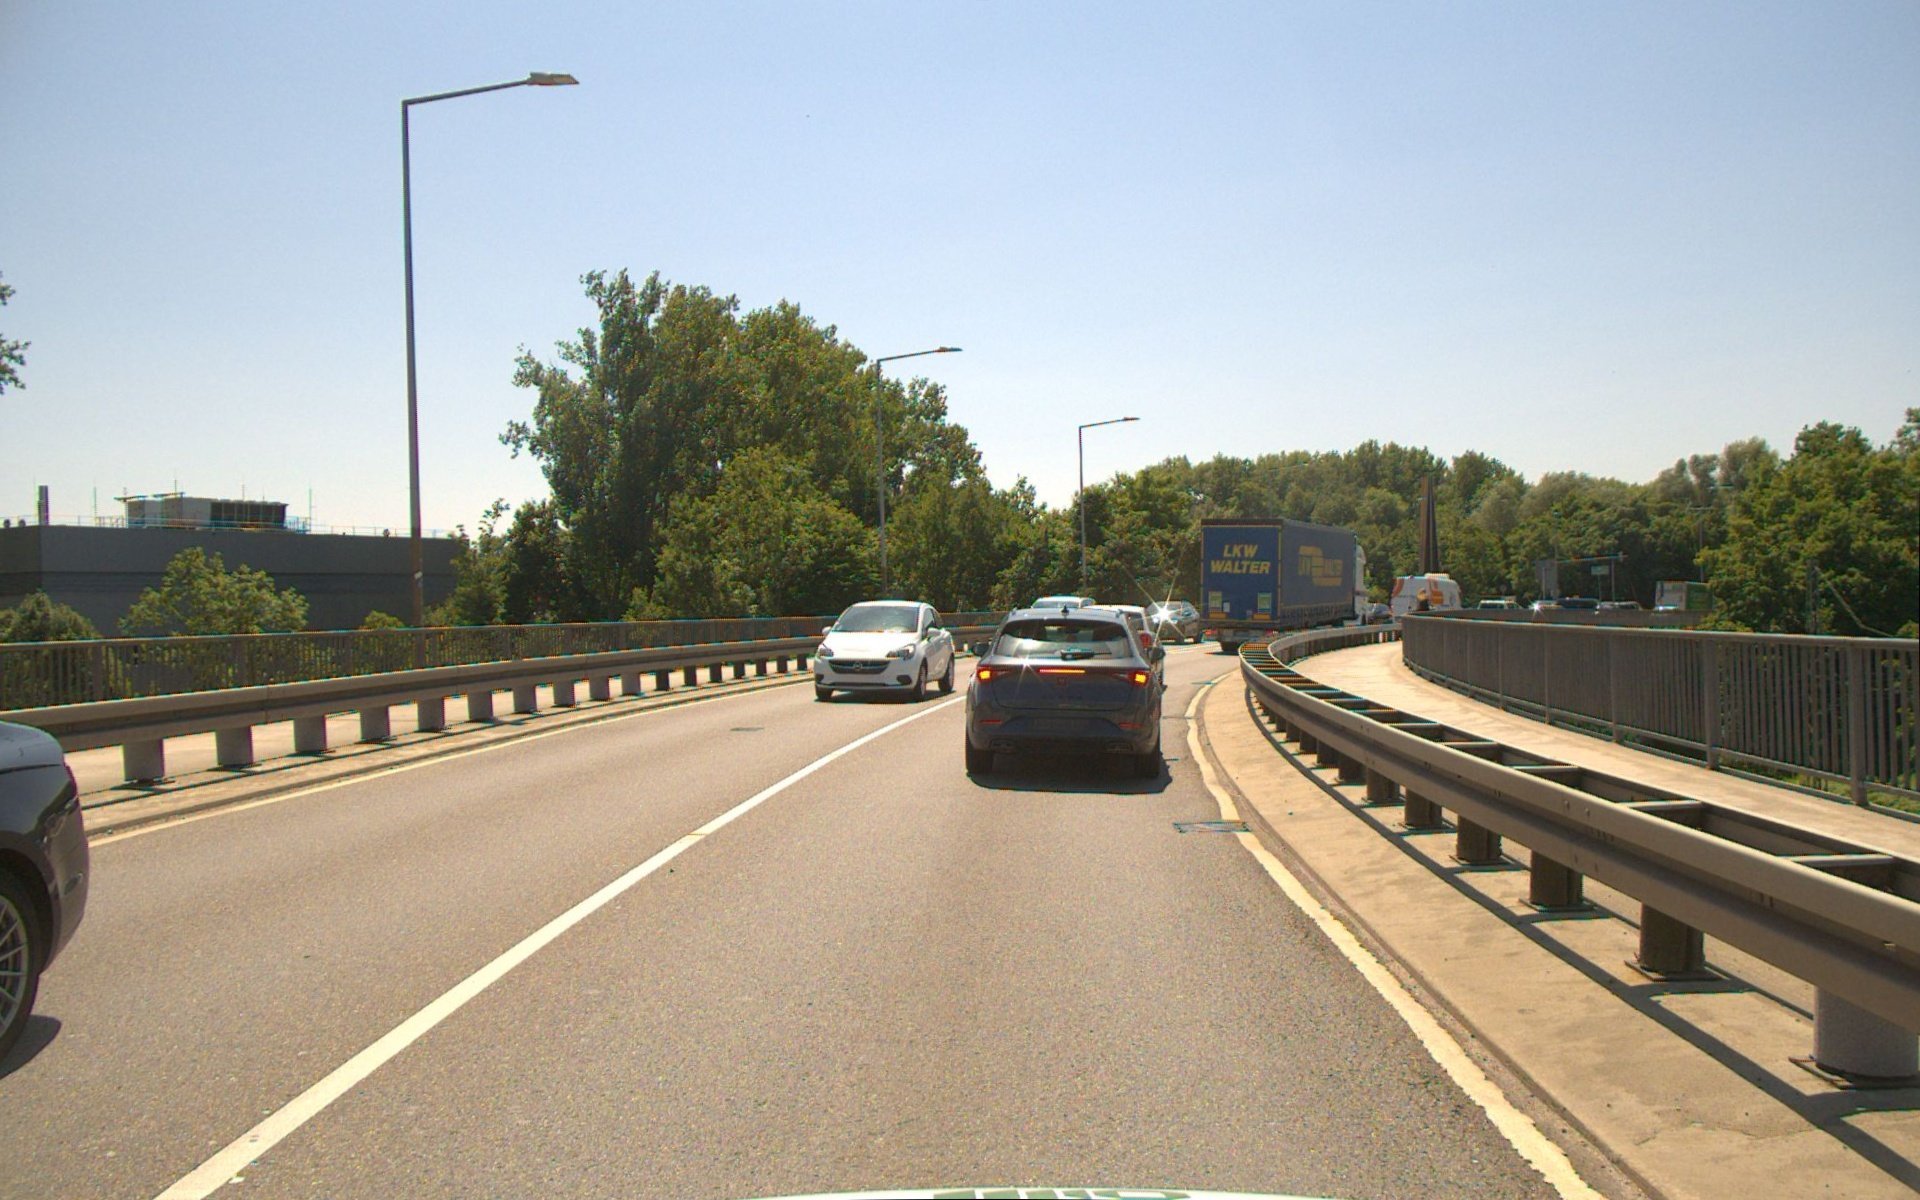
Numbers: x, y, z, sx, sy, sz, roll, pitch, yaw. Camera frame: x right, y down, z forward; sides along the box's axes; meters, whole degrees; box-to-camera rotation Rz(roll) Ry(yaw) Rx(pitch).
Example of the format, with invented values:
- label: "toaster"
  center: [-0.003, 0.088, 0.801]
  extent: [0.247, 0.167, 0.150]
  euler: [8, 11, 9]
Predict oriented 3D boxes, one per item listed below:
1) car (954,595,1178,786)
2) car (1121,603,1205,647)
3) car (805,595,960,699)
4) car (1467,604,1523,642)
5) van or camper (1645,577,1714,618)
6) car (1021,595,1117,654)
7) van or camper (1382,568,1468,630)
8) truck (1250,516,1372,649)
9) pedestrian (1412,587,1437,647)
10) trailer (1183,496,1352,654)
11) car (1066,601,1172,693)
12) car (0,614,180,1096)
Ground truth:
- label: "car"
  center: [0.908, 0.730, 15.355]
  extent: [1.807, 1.525, 3.759]
  euler: [1, 0, 1]
- label: "car"
  center: [7.363, 0.896, 59.716]
  extent: [1.849, 1.523, 4.313]
  euler: [0, -1, 24]
- label: "car"
  center: [-1.144, 0.708, 26.118]
  extent: [1.688, 1.509, 3.869]
  euler: [-1, -1, 9]
- label: "car"
  center: [27.551, 1.206, 85.104]
  extent: [1.854, 1.882, 3.990]
  euler: [1, -1, 31]
- label: "van or camper"
  center: [50.642, -0.160, 116.342]
  extent: [4.915, 2.331, 2.457]
  euler: [6, 1, -41]
- label: "car"
  center: [3.237, 0.689, 48.253]
  extent: [1.680, 1.643, 4.119]
  euler: [0, -1, 21]
- label: "van or camper"
  center: [21.456, -0.049, 76.142]
  extent: [2.164, 2.758, 5.909]
  euler: [1, 0, 33]
- label: "truck"
  center: [13.268, -0.552, 62.020]
  extent: [3.106, 4.665, 7.394]
  euler: [1, -1, 23]
- label: "pedestrian"
  center: [15.831, 0.584, 56.398]
  extent: [0.722, 2.002, 0.734]
  euler: [1, -1, 22]
- label: "trailer"
  center: [10.633, -0.672, 55.662]
  extent: [3.070, 4.695, 12.946]
  euler: [1, -1, 22]
- label: "car"
  center: [2.859, 0.800, 29.261]
  extent: [1.559, 1.487, 3.547]
  euler: [1, 0, 10]
- label: "car"
  center: [-3.771, 0.757, 3.762]
  extent: [1.752, 1.440, 4.575]
  euler: [-1, -1, 1]
